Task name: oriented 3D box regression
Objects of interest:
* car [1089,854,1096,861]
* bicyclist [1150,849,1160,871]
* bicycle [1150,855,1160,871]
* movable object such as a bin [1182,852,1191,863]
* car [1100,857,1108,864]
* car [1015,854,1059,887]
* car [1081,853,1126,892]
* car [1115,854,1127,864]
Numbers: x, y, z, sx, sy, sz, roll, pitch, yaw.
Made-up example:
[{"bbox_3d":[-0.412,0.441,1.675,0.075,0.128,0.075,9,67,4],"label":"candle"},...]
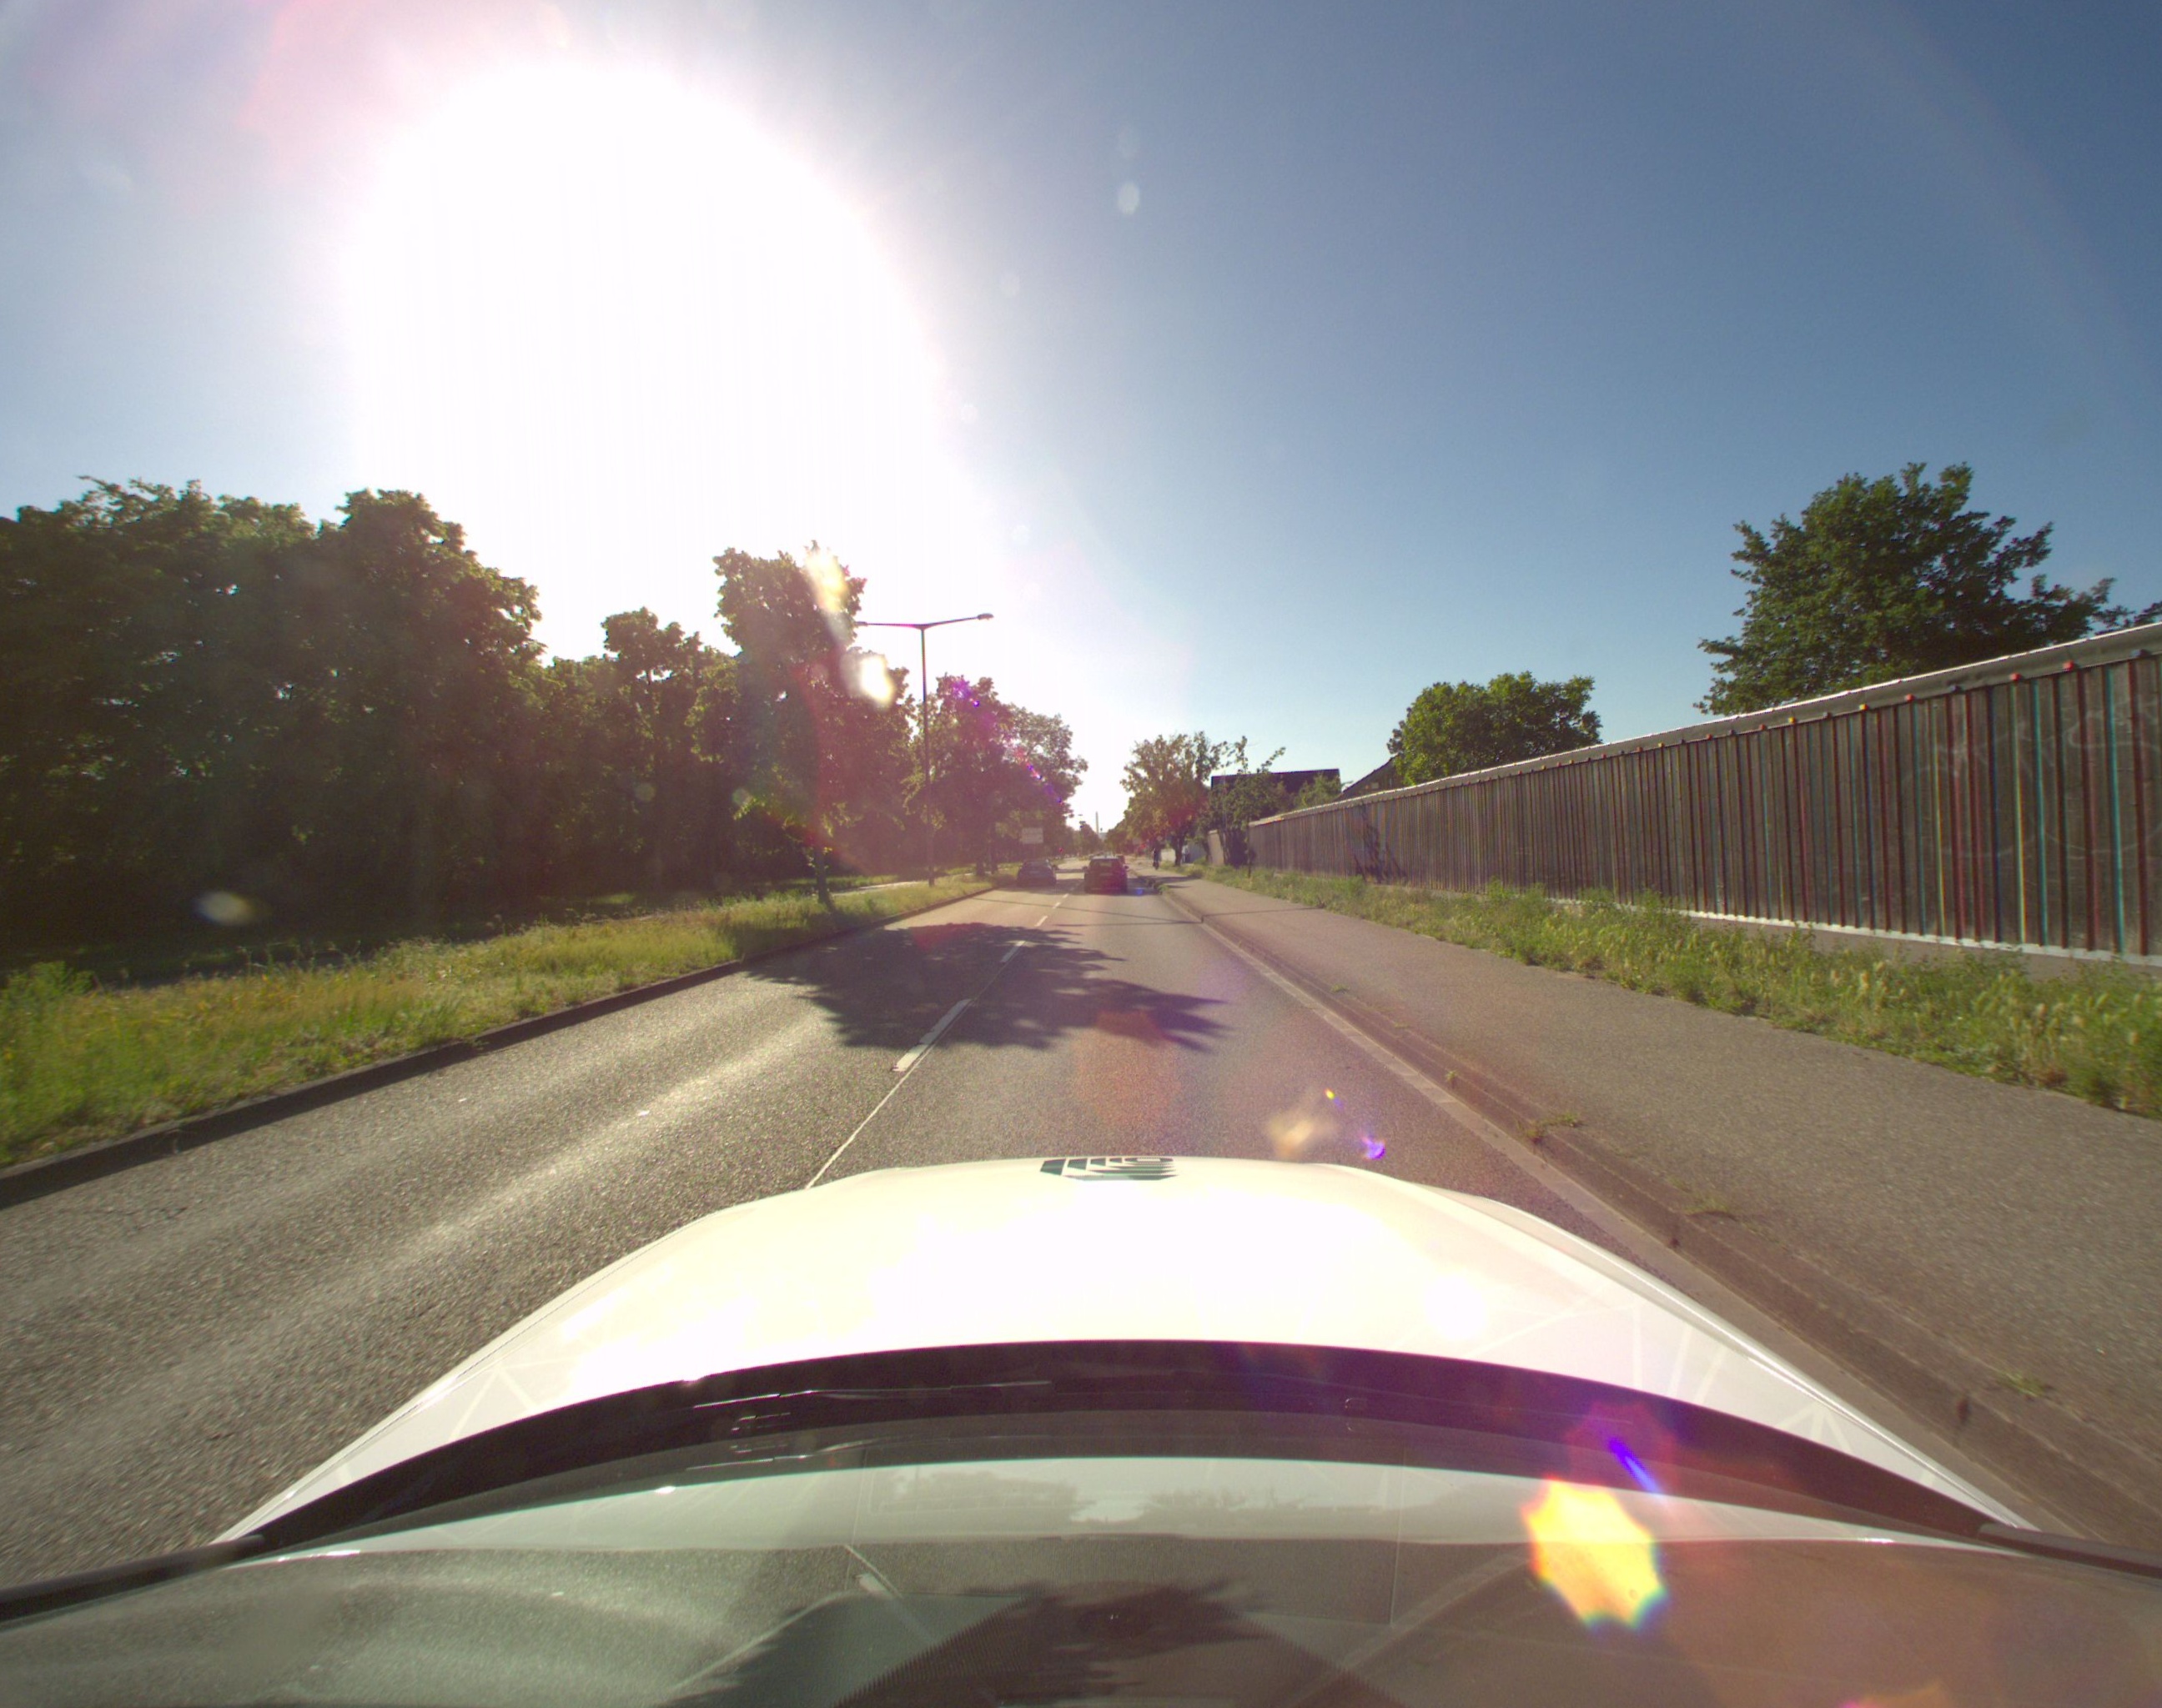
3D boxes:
[{"bbox_3d":[3.016,0.813,208.869,1.818,1.615,3.841,-3,0,1],"label":"car"},{"bbox_3d":[5.692,0.433,62.678,0.627,1.632,0.984,-5,0,7],"label":"bicyclist"},{"bbox_3d":[5.726,0.666,62.702,0.571,1.155,2.145,-5,0,7],"label":"bicycle"},{"bbox_3d":[12.019,0.391,92.760,0.996,1.205,1.065,-4,-1,9],"label":"movable object such as a bin"},{"bbox_3d":[5.139,1.367,181.512,1.726,1.585,3.841,0,-1,2],"label":"car"},{"bbox_3d":[-2.268,0.845,42.935,1.881,1.552,4.001,-2,-1,2],"label":"car"},{"bbox_3d":[0.955,0.766,34.355,1.749,1.509,3.810,-1,-1,2],"label":"car"},{"bbox_3d":[6.575,0.787,133.098,1.724,1.459,3.845,-2,0,5],"label":"car"}]
